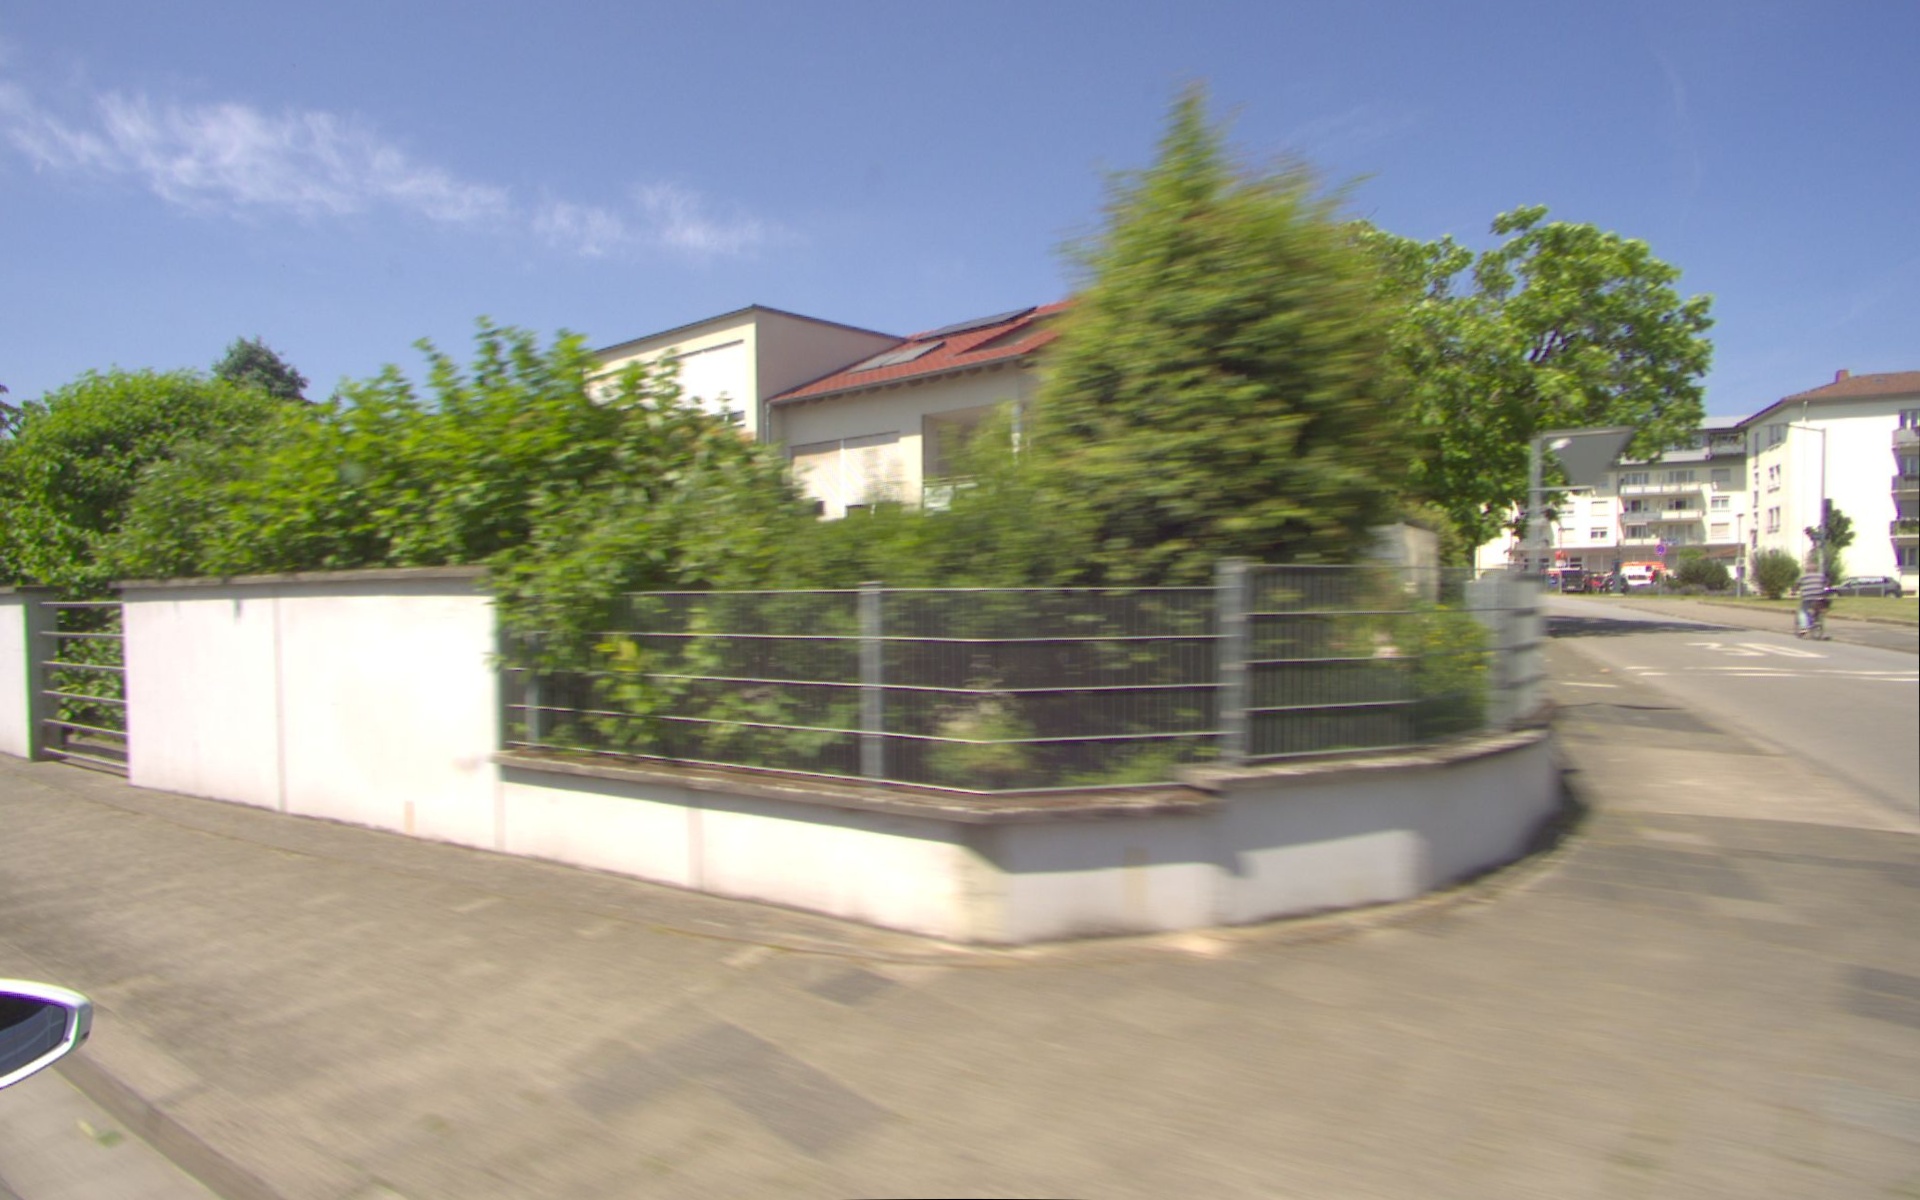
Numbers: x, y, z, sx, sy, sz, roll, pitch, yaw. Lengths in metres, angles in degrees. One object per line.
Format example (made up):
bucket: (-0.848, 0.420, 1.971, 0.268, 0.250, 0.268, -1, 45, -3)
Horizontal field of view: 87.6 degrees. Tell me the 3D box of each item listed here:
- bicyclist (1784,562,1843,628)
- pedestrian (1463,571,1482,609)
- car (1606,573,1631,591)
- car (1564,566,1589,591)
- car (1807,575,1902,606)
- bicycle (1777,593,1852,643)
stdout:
bicyclist: (20.348, -0.120, 23.885, 0.842, 1.551, 0.925, 0, 2, 26)
pedestrian: (26.144, -0.499, 51.093, 0.771, 1.876, 0.630, 0, -1, 21)
car: (52.027, -1.436, 79.087, 1.502, 1.344, 3.161, 0, 1, 35)
car: (49.423, -1.692, 80.260, 1.502, 1.953, 3.161, 0, 1, 35)
car: (51.026, -0.504, 57.223, 3.774, 1.649, 1.504, -1, -2, 29)
bicycle: (20.366, 0.398, 23.920, 0.803, 1.118, 2.138, 0, 1, 25)
